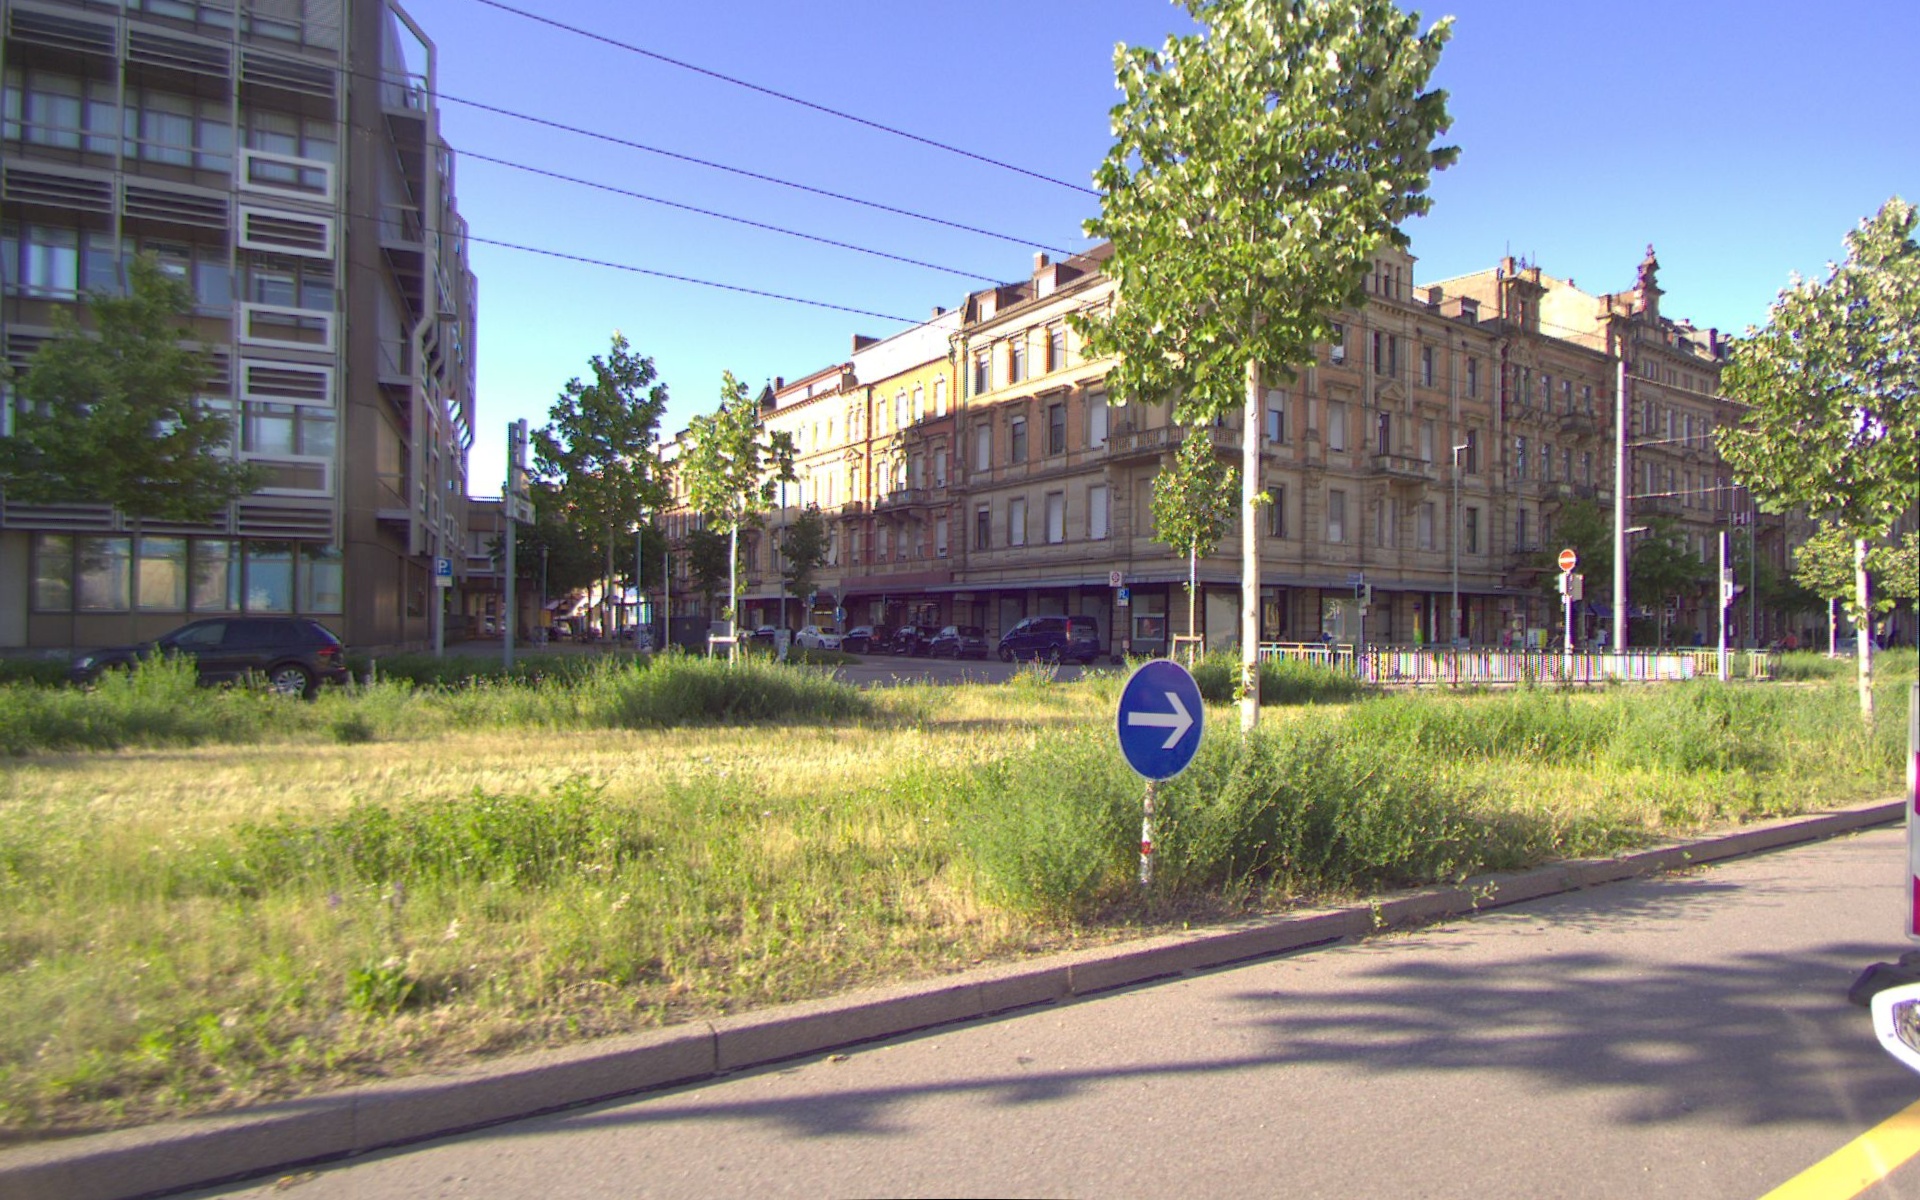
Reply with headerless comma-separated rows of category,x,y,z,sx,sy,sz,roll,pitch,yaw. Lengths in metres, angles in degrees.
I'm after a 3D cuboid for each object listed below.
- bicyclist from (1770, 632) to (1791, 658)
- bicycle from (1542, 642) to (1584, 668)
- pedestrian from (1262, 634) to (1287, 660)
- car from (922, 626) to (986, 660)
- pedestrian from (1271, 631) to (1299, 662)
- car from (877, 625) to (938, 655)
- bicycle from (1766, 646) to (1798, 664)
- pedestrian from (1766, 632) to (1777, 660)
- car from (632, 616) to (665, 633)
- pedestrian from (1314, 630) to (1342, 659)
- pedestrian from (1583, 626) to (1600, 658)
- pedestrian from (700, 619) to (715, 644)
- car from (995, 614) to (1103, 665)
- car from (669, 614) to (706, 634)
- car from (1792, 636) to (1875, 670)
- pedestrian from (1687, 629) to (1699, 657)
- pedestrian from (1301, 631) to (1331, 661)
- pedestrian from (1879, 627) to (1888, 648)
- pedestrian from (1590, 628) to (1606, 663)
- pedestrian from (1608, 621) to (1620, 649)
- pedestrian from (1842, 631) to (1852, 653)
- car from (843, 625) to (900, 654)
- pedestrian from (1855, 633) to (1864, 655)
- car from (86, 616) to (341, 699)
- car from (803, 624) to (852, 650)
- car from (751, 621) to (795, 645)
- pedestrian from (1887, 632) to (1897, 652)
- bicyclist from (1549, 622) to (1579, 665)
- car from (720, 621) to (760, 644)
bicyclist,41.485,2.278,50.769,0.730,1.256,0.634,1,-1,-32
bicycle,23.813,2.172,39.679,1.807,0.991,0.691,2,-1,-32
pedestrian,13.324,2.006,42.587,0.727,1.073,0.686,2,-1,-32
car,-0.286,1.942,46.137,1.371,1.488,3.122,1,-2,-36
pedestrian,13.427,1.905,41.514,0.919,1.263,0.686,2,-1,-32
car,-2.604,1.949,49.348,1.565,1.427,3.031,1,-2,-37
bicycle,41.622,2.777,50.852,2.008,0.869,0.634,2,-1,-32
pedestrian,52.524,3.001,65.017,0.402,1.788,0.364,2,1,-33
car,-25.356,1.987,81.758,1.557,1.397,3.660,0,-1,-35
pedestrian,15.836,1.917,43.202,0.919,1.224,0.686,2,-1,-32
pedestrian,31.783,2.111,50.560,0.528,1.606,0.484,2,1,-33
pedestrian,-15.598,1.968,62.037,0.605,1.536,0.737,1,-1,7
car,3.554,1.559,40.730,1.881,1.928,4.477,1,-2,-36
car,-20.263,1.783,74.656,1.585,1.427,3.327,1,-2,-36
car,41.094,2.455,47.254,4.025,1.439,1.842,1,0,-32
pedestrian,43.310,2.540,59.336,0.421,1.606,0.401,2,1,-33
pedestrian,14.981,1.937,42.284,0.919,1.224,0.787,2,-1,-32
pedestrian,71.119,2.897,77.365,0.430,1.553,0.403,2,1,-33
pedestrian,33.297,2.350,52.408,0.402,1.788,0.505,2,1,-33
pedestrian,38.609,2.081,59.310,0.383,1.606,0.386,2,1,-2
pedestrian,67.632,3.213,76.612,0.382,1.606,0.431,1,1,-35
car,-4.577,1.998,51.829,1.565,1.427,3.031,1,-2,-37
pedestrian,68.074,3.331,76.015,0.335,1.606,0.426,2,1,-31
car,-14.749,1.111,20.139,3.853,1.481,1.722,1,0,-29
car,-7.400,2.048,55.936,1.472,1.427,3.031,1,-2,-36
car,-11.502,2.024,61.795,1.472,1.427,3.031,1,-2,-36
pedestrian,76.921,3.481,82.889,0.431,1.606,0.457,1,1,-39
bicyclist,23.916,1.724,39.750,0.872,1.679,0.691,2,-1,-32
car,-14.490,2.138,66.045,1.491,1.428,3.015,2,-2,-37
